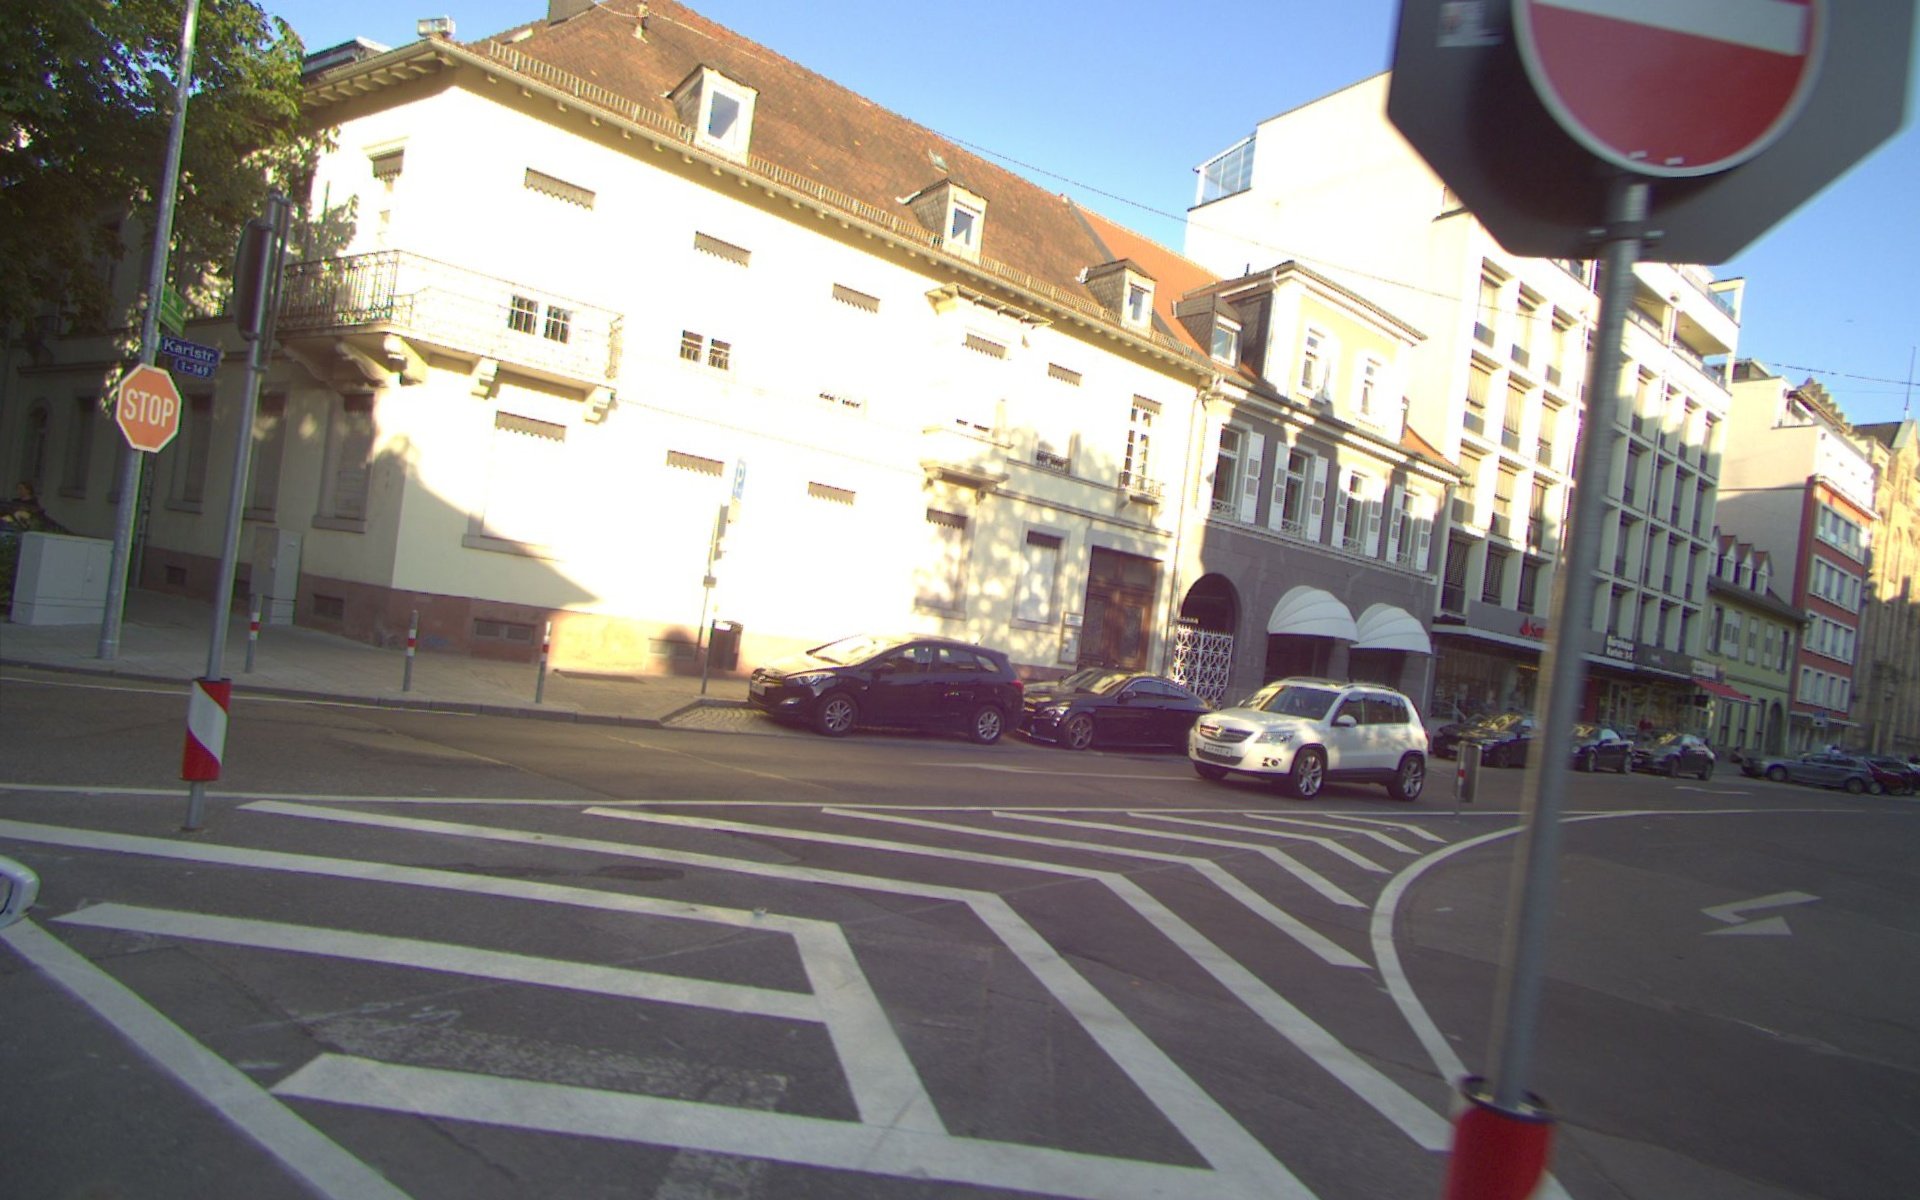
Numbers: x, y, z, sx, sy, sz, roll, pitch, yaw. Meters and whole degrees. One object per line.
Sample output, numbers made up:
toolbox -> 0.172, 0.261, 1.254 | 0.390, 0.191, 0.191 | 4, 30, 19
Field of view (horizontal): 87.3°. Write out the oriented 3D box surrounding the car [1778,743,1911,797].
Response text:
car -> 38.640, 7.415, 44.101 | 4.121, 1.542, 1.769 | 6, -1, 38

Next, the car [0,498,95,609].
car -> -15.319, -0.907, 14.302 | 1.819, 1.508, 4.117 | 8, -1, 30

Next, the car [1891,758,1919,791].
car -> 52.597, 9.573, 53.457 | 4.110, 1.542, 1.774 | 6, -1, 27

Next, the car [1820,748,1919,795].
car -> 42.971, 8.041, 46.919 | 4.121, 1.542, 1.769 | 6, -1, 38

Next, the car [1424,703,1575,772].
car -> 14.303, 3.655, 26.604 | 4.145, 1.385, 1.759 | 8, -2, -35

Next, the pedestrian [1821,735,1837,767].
pedestrian -> 47.967, 8.335, 55.528 | 0.495, 1.727, 0.421 | 8, 1, -45

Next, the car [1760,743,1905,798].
car -> 36.290, 7.053, 41.975 | 4.108, 1.386, 1.775 | 7, -1, 25

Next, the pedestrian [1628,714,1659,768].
pedestrian -> 27.626, 5.701, 40.677 | 0.614, 2.037, 0.673 | 8, -1, -35

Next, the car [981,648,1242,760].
car -> 2.766, 1.885, 17.897 | 4.477, 1.386, 1.758 | 9, 1, -35

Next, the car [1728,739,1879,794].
car -> 33.442, 6.569, 40.003 | 4.104, 1.386, 1.777 | 7, -1, 16

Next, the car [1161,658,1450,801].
car -> 5.193, 1.950, 14.923 | 4.168, 1.675, 1.878 | 9, -3, -36

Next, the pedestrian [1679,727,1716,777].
pedestrian -> 32.854, 6.762, 44.816 | 1.092, 2.037, 0.902 | 8, -1, -36

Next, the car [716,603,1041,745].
car -> -1.152, 1.133, 15.054 | 4.381, 1.560, 1.851 | 9, -2, -33

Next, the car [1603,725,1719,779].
car -> 23.124, 5.017, 33.149 | 4.145, 1.385, 1.759 | 8, -2, -35

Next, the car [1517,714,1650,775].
car -> 18.399, 4.271, 29.653 | 4.145, 1.385, 1.759 | 8, -2, -35

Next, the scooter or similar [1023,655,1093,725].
scooter or similar -> 1.915, 1.769, 19.728 | 1.171, 1.217, 0.384 | 7, -1, -12

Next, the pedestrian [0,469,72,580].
pedestrian -> -15.808, -1.279, 16.946 | 0.769, 1.727, 0.944 | 8, 0, 33
